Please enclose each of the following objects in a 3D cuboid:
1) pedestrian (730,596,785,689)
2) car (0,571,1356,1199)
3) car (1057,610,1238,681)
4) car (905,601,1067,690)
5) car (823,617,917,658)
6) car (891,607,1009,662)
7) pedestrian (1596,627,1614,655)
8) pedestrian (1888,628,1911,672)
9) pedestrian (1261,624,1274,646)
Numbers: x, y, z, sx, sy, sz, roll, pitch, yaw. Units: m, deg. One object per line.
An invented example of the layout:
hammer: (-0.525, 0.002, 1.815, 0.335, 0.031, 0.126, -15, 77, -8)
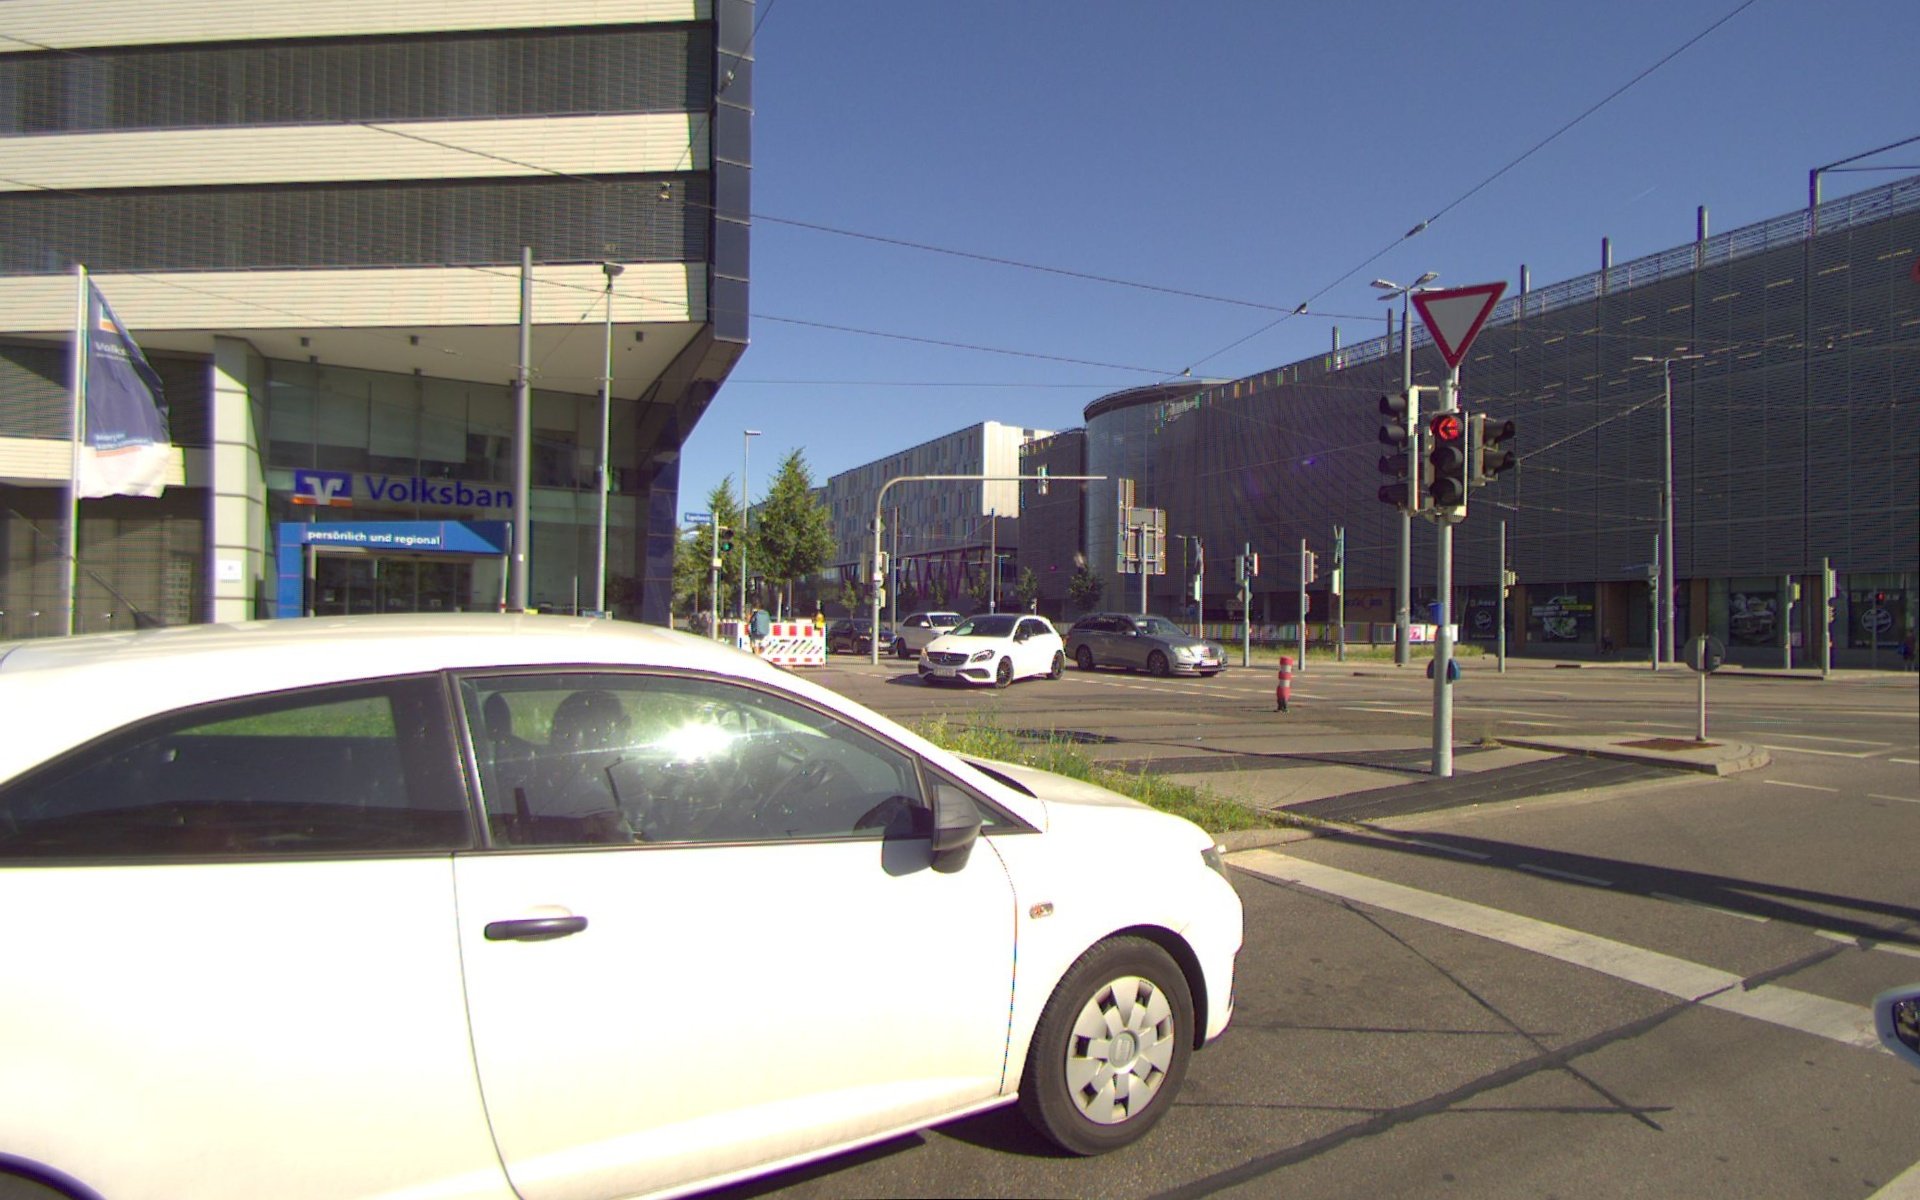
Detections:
pedestrian: (-3.900, 0.803, 19.344, 0.734, 1.719, 0.798, 1, 1, -40)
car: (-0.955, 0.735, 2.788, 3.977, 1.460, 1.723, 2, 1, -31)
car: (4.581, 1.068, 25.294, 1.688, 1.593, 4.829, 1, -1, -32)
car: (0.669, 0.896, 21.251, 1.792, 1.668, 4.177, 0, -1, 27)
car: (-3.782, 1.509, 41.492, 1.815, 1.481, 4.639, 1, 0, -34)
car: (-0.425, 1.160, 34.265, 1.916, 1.729, 4.643, 1, -2, -32)
pedestrian: (38.769, 2.477, 60.413, 0.584, 1.622, 0.661, 2, 0, -11)
pedestrian: (39.968, 2.119, 42.730, 0.687, 1.821, 0.726, -2, -3, 44)
pedestrian: (23.393, 2.670, 76.396, 0.642, 1.622, 0.658, 2, 0, -24)
